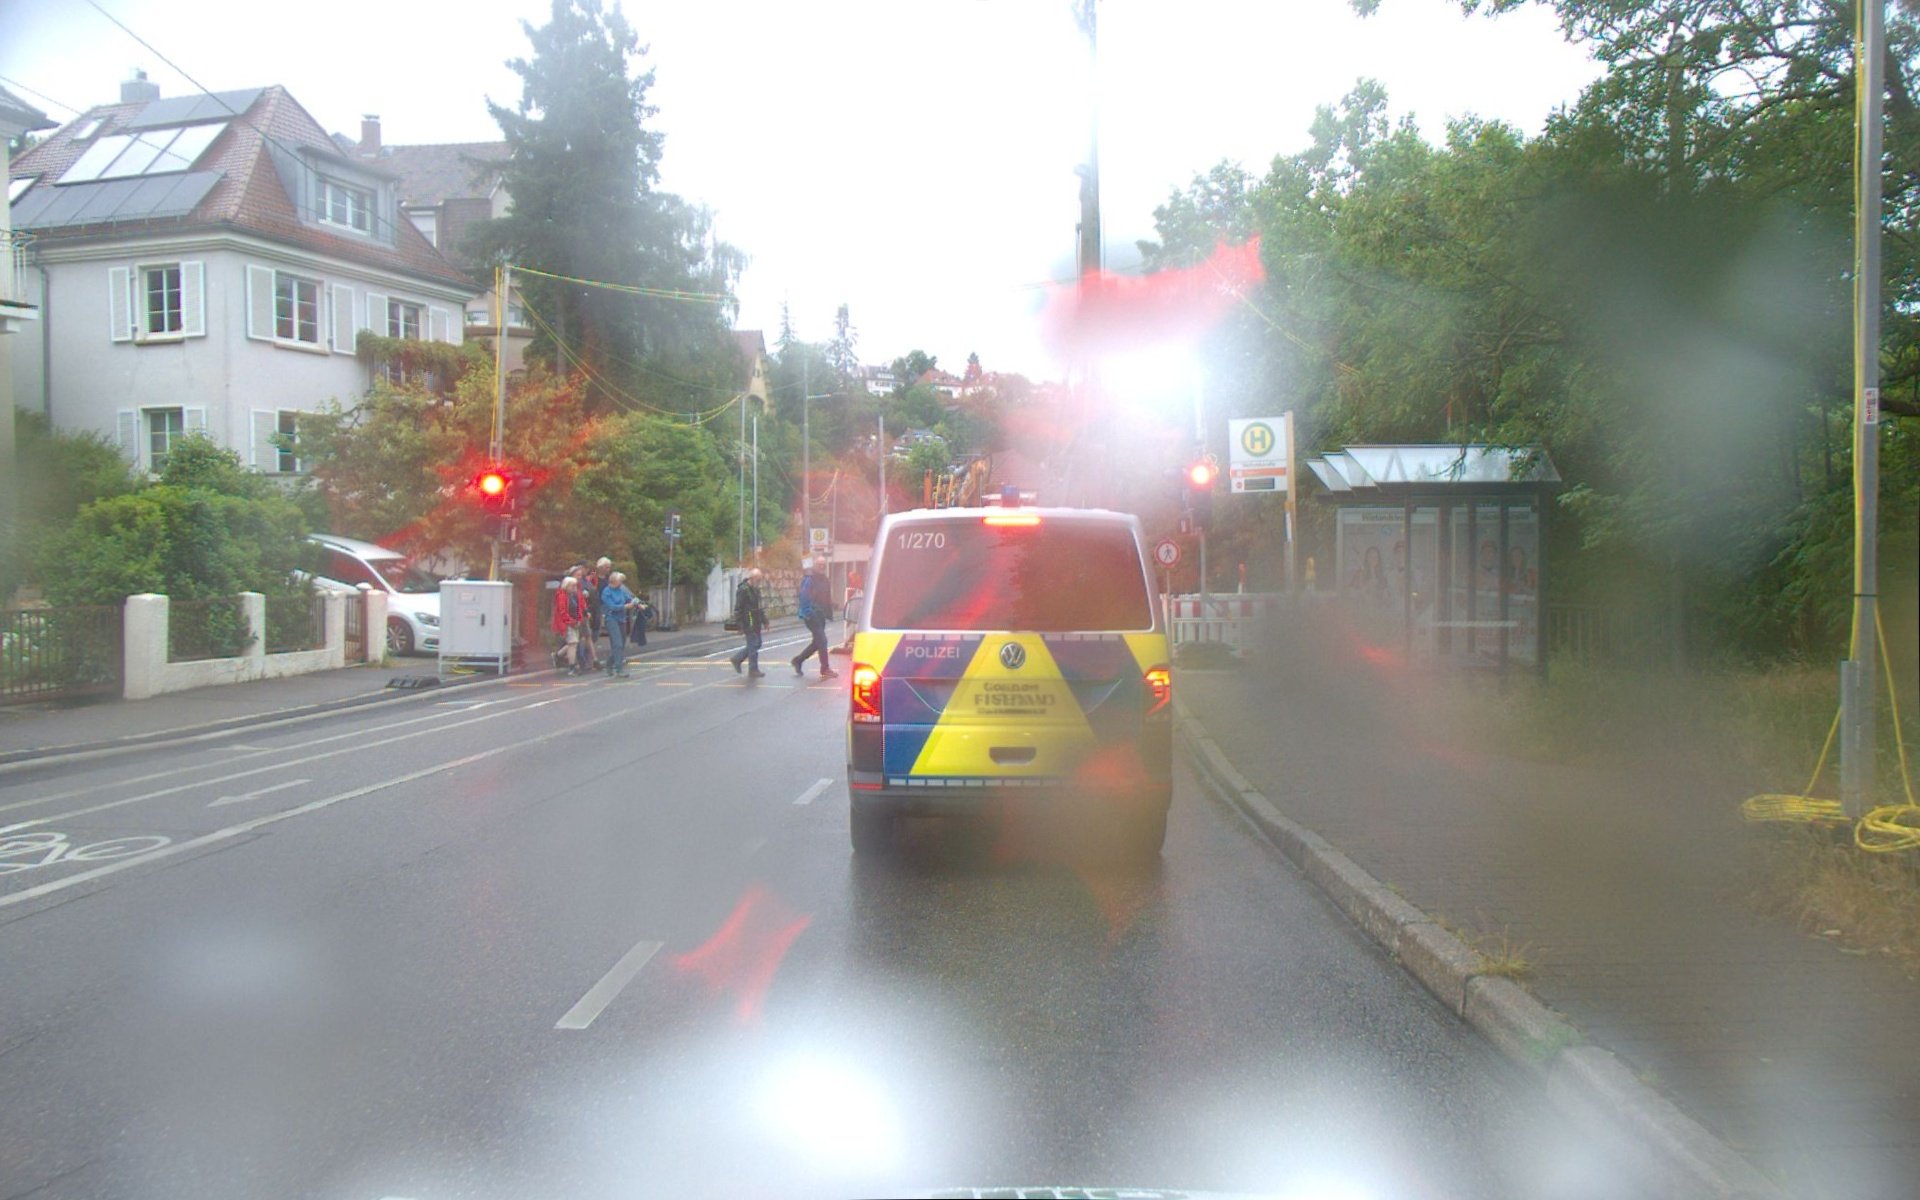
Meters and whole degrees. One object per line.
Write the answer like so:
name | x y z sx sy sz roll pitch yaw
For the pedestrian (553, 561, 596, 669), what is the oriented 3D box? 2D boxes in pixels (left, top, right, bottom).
pedestrian | -6.165 0.248 26.470 0.537 1.697 0.414 1 -2 2

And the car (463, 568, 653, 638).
car | -9.386 0.077 38.744 3.902 1.512 1.761 1 -2 10

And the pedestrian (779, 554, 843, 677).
pedestrian | -2.267 0.241 25.241 0.872 1.819 0.828 1 -2 -2

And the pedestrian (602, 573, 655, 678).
pedestrian | -4.978 0.382 24.881 0.613 1.548 0.593 1 -2 2

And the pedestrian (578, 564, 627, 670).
pedestrian | -5.967 0.284 27.631 0.613 1.745 0.593 1 -2 2

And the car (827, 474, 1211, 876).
car | 0.280 0.349 10.717 1.953 2.048 4.401 1 1 -1

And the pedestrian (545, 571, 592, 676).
pedestrian | -6.072 0.369 25.668 0.551 1.610 0.468 1 -2 2

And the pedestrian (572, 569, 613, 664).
pedestrian | -5.991 0.269 26.958 0.514 1.533 0.429 1 -2 2

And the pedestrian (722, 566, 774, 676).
pedestrian | -3.218 0.323 25.132 0.672 1.632 0.605 1 -2 -2

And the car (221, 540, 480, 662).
car | -10.692 0.005 29.140 3.902 2.049 1.832 0 0 11

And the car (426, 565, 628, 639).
car | -9.554 0.063 36.594 3.902 1.512 1.761 1 -2 10

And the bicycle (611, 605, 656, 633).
bicycle | -8.219 0.486 41.655 1.031 0.674 0.320 1 -2 10
